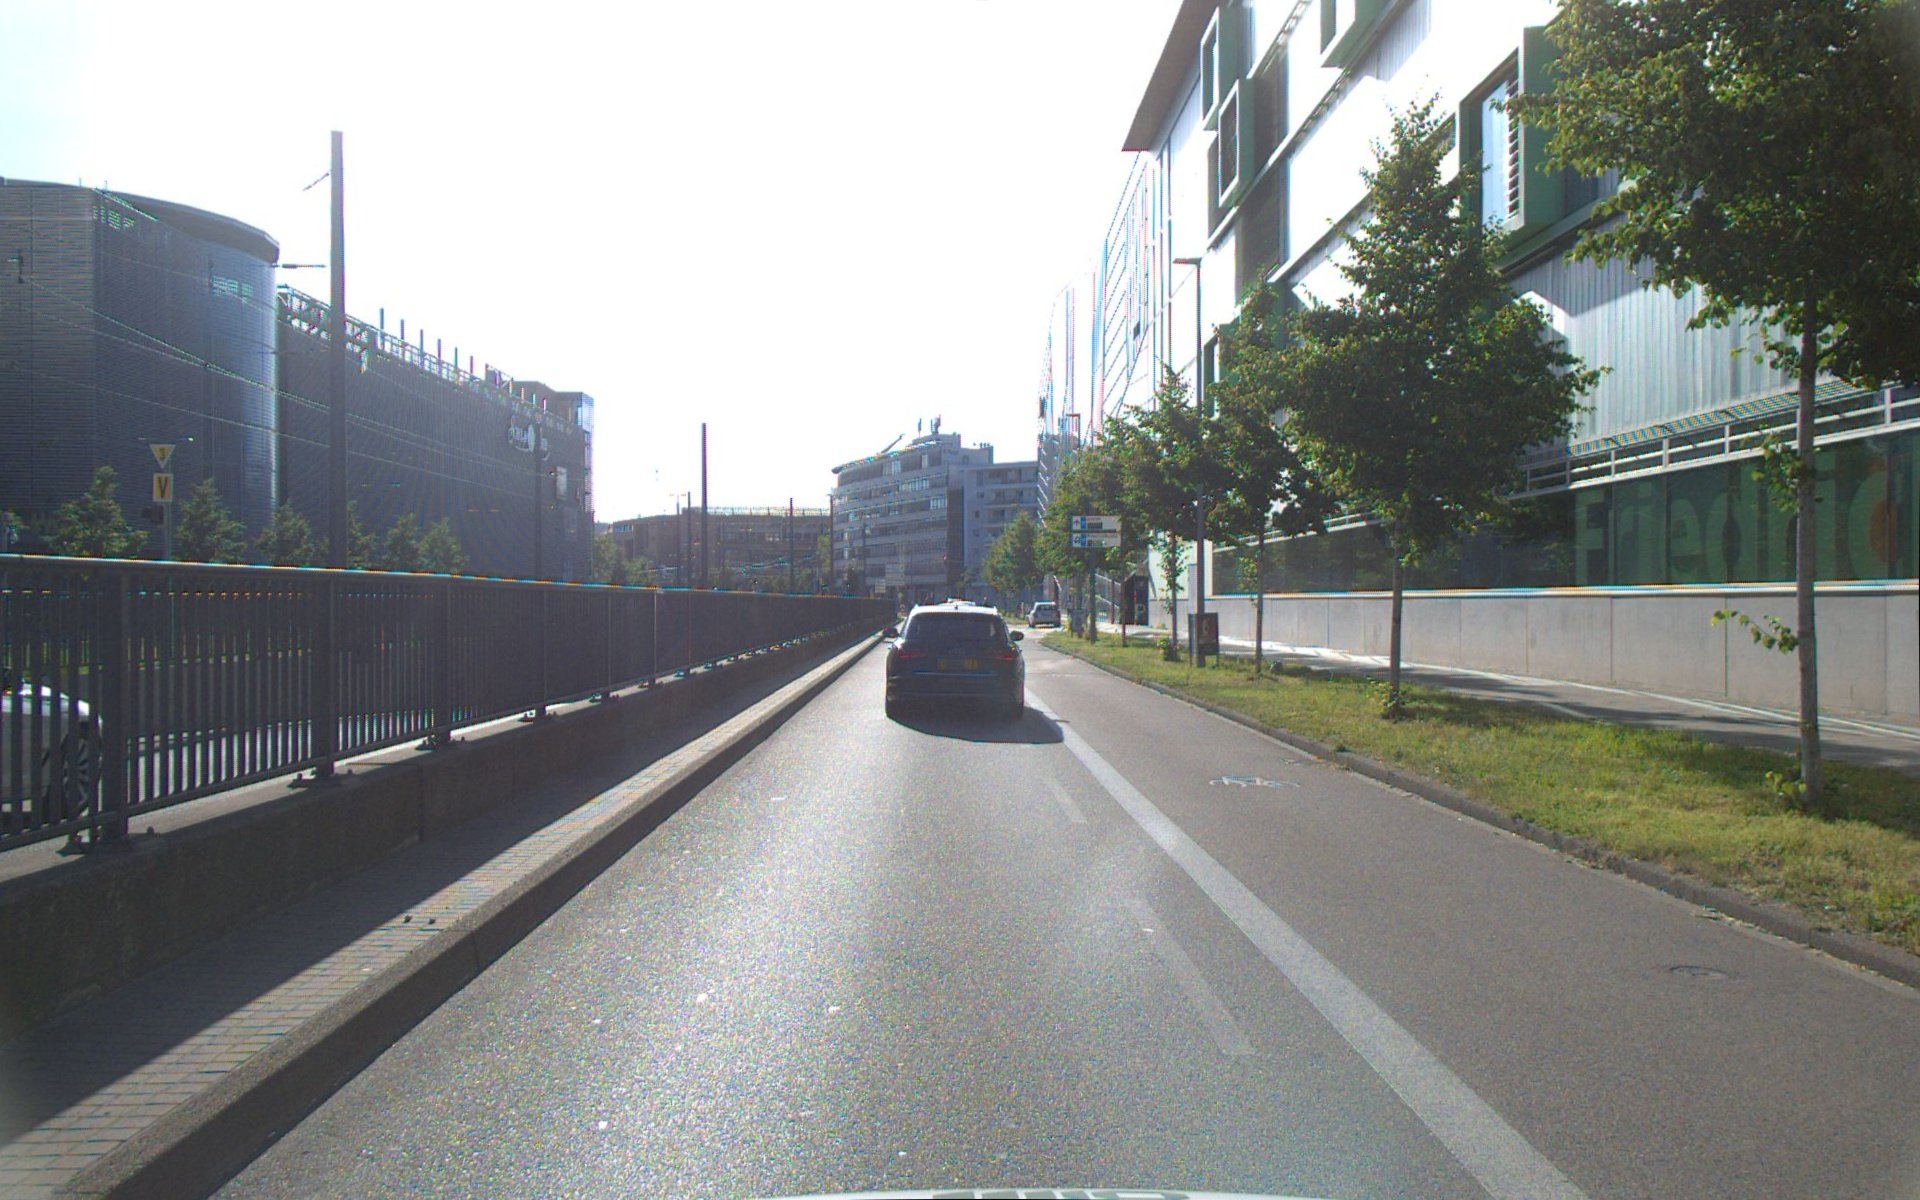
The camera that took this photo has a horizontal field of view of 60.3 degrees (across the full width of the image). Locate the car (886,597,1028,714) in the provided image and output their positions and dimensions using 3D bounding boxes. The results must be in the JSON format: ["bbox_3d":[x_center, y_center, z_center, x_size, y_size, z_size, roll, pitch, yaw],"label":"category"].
[{"bbox_3d":[-0.112,0.706,23.058,1.776,1.452,4.688,0,0,-2],"label":"car"}]

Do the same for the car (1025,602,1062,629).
[{"bbox_3d":[4.981,0.914,98.979,1.815,1.507,4.852,-2,0,-2],"label":"car"}]

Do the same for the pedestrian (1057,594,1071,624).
[{"bbox_3d":[7.129,0.618,113.376,0.819,2.049,0.689,-1,0,0],"label":"pedestrian"}]

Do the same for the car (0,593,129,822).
[{"bbox_3d":[-7.470,0.735,10.872,1.763,1.553,4.907,2,0,-4],"label":"car"}]

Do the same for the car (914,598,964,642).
[{"bbox_3d":[-0.835,0.739,63.996,1.815,1.573,3.999,1,0,-2],"label":"car"}]

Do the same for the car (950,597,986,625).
[{"bbox_3d":[0.465,0.612,93.707,1.952,1.491,4.000,1,1,0],"label":"car"}]
